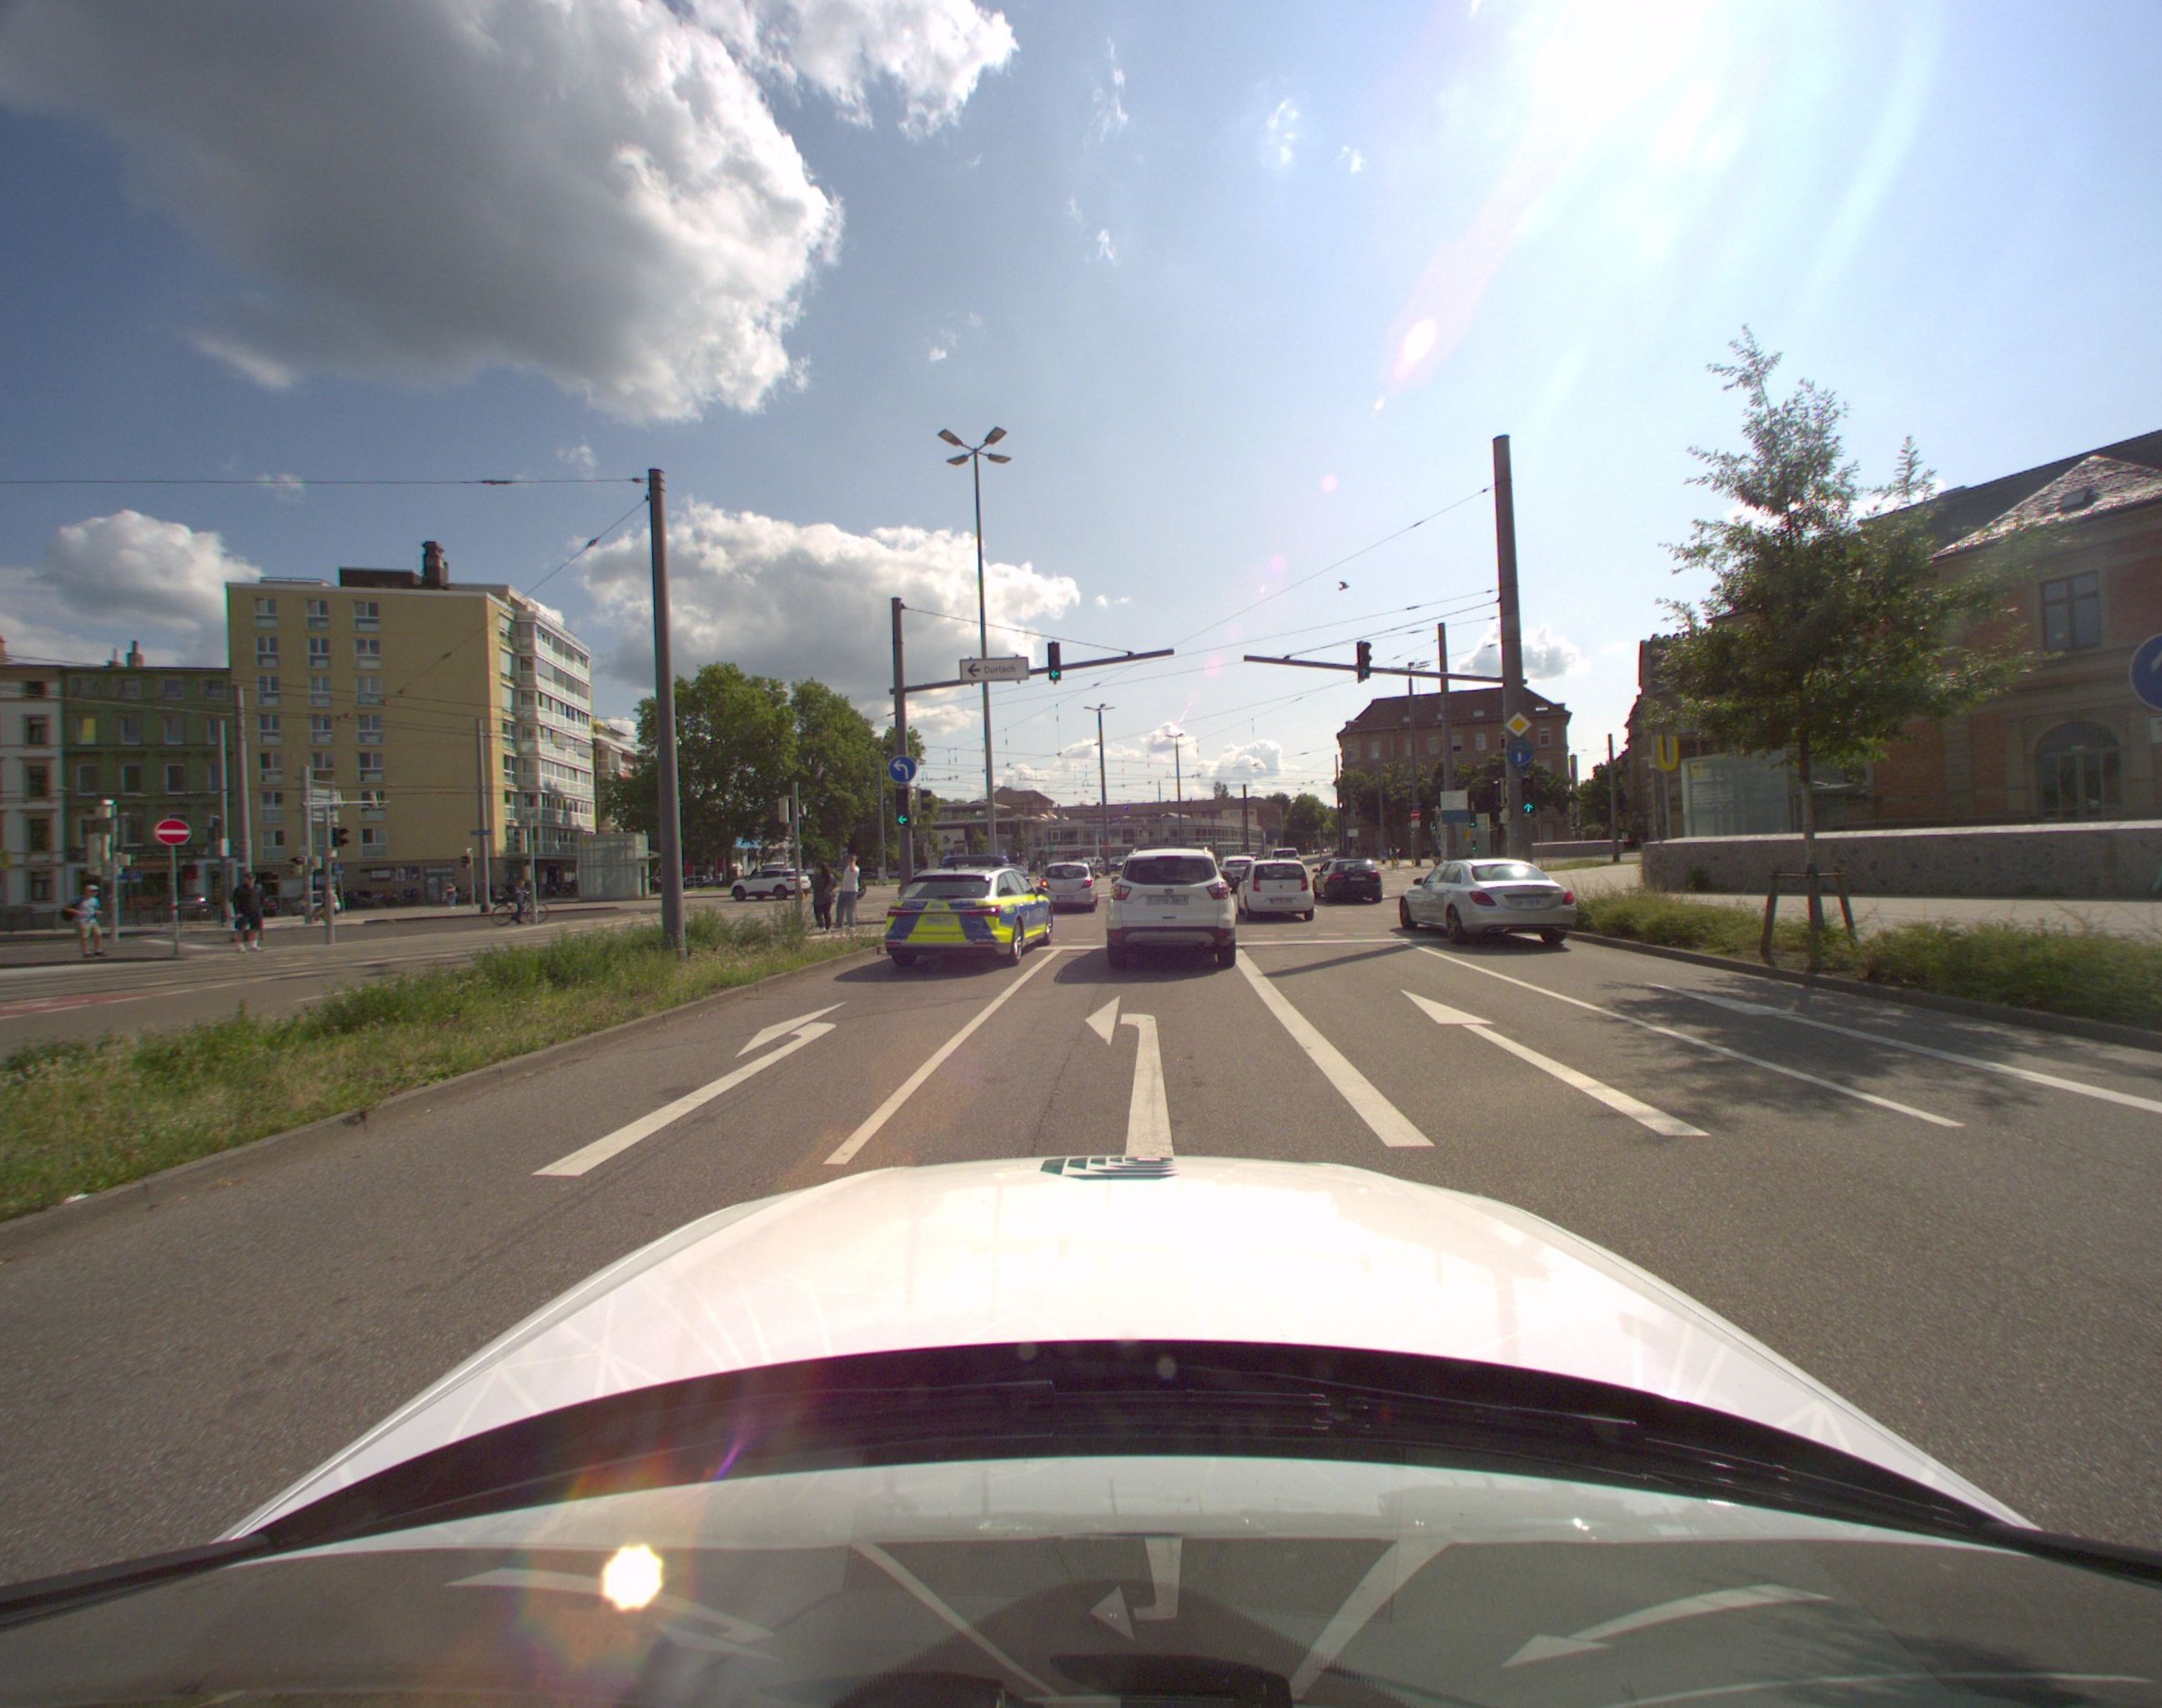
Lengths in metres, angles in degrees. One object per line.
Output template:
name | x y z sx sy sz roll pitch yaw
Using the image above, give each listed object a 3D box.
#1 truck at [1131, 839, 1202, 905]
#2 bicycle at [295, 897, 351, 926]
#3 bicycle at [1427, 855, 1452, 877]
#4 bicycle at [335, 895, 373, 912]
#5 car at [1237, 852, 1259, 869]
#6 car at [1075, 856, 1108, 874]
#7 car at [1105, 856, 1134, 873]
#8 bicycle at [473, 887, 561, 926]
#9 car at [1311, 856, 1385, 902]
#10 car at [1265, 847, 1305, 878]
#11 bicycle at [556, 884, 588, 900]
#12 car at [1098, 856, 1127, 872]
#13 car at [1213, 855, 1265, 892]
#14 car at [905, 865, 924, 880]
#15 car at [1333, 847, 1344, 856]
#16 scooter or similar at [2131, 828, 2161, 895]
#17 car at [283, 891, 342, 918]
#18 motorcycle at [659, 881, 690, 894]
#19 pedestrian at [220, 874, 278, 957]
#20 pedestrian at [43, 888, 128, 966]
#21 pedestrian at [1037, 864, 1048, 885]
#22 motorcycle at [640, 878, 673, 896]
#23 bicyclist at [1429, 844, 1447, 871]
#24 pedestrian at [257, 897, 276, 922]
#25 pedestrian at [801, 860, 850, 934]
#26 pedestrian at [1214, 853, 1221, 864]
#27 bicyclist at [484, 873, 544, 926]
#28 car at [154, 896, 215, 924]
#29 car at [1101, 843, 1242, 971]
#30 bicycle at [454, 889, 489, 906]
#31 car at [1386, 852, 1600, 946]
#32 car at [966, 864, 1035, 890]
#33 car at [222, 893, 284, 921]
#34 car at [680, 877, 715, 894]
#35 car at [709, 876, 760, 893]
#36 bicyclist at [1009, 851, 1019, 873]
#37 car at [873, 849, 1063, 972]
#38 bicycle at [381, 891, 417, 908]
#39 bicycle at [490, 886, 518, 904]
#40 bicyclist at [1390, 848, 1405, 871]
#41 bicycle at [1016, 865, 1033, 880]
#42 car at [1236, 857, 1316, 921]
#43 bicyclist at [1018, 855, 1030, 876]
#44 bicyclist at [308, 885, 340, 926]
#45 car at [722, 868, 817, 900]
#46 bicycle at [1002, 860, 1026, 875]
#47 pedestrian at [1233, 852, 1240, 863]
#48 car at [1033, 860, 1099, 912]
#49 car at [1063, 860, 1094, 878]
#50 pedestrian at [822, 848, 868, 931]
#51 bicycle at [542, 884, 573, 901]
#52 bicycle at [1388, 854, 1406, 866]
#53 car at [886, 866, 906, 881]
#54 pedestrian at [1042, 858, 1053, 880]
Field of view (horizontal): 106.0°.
truck | 3.102 0.631 30.164 2.328 2.155 5.859 -1 -1 5
bicycle | -33.632 2.548 36.183 0.889 1.138 2.343 0 -1 -18
bicycle | 17.478 0.566 39.741 0.840 0.970 1.969 -5 -1 16
bicycle | -51.062 3.472 57.207 1.809 1.104 0.792 -2 -1 -19
car | 14.779 0.590 72.041 1.838 1.419 3.690 -2 -1 12
car | 1.035 1.030 77.731 1.722 1.573 4.022 -4 -1 23
car | 3.679 0.953 77.099 1.675 1.461 3.987 -4 -1 18
bicycle | -19.597 1.819 28.335 2.287 1.188 0.994 -3 -1 -2
car | 8.876 0.798 27.362 1.689 1.372 4.143 -2 -1 9
car | 11.407 0.487 45.785 1.826 1.652 4.010 -2 -1 9
bicycle | -39.862 2.991 63.818 1.948 1.147 0.792 -2 -1 -18
car | 3.336 1.050 84.514 1.612 1.461 3.991 -4 0 23
car | 6.472 0.786 33.583 1.840 1.419 3.686 -2 -1 7
car | -23.170 2.572 113.503 1.989 2.014 4.225 -4 -1 -4
car | 50.060 -0.479 158.501 1.821 1.652 4.020 -2 -1 21
scooter or similar | 18.687 0.119 13.519 0.466 1.118 1.437 -3 0 -19
car | -47.498 3.142 50.321 3.849 1.497 1.912 -4 -2 35
motorcycle | -33.288 2.765 66.722 0.800 0.917 2.058 -3 1 37
pedestrian | -19.845 1.447 19.450 0.770 1.903 0.819 0 -1 -31
pedestrian | -24.237 1.756 19.849 0.761 1.798 1.029 -1 -1 4
pedestrian | -3.152 1.667 66.683 0.921 1.744 0.589 -1 -1 -2
motorcycle | -32.232 2.488 61.880 2.193 1.238 0.910 -3 0 18
bicyclist | 17.406 0.166 39.709 0.630 1.220 0.927 -4 0 15
pedestrian | -51.513 3.519 51.519 0.702 1.534 0.550 -3 -1 -31
pedestrian | -5.965 0.991 19.035 0.845 1.648 0.692 -3 -1 0
pedestrian | 21.788 0.644 130.188 0.866 1.737 0.882 -1 -2 36
bicyclist | -19.703 1.570 28.330 1.294 1.731 0.994 -3 -1 -2
car | -52.960 3.331 48.082 3.849 1.497 1.912 -4 -2 34
car | 1.341 0.729 12.767 1.819 1.664 3.960 -1 -1 4
bicycle | -44.111 3.120 58.942 1.809 1.104 0.792 -2 -1 -19
car | 7.379 0.725 15.221 1.921 1.455 4.765 -1 0 5
car | -4.534 1.293 45.413 1.752 1.376 3.951 -1 -1 -42
car | -49.552 3.188 48.712 3.849 1.497 1.912 -4 -2 34
car | -34.503 2.853 73.326 1.906 1.413 3.984 -3 -2 -11
car | -32.527 2.841 76.463 3.976 1.327 1.632 -3 -2 -2
bicyclist | -5.308 0.646 64.743 0.656 1.738 0.641 -2 0 5
car | -1.573 0.802 13.186 1.870 1.568 4.624 -2 -1 7
bicycle | -48.503 3.242 57.941 1.809 1.104 0.792 -2 -1 -19
bicycle | -43.073 3.042 60.833 0.792 1.258 1.808 -2 -1 -3
bicyclist | 20.418 0.371 52.576 0.606 1.451 0.775 -2 -1 2
bicycle | -4.883 1.577 70.353 0.754 1.192 2.159 -3 -1 15
car | 4.972 0.843 21.186 1.640 1.422 4.010 -3 0 9
bicyclist | -4.920 0.992 70.370 0.754 1.683 0.763 -3 -1 15
bicyclist | -33.659 2.276 36.230 0.779 1.797 0.706 0 -1 -18
car | -16.701 1.606 43.689 4.487 1.578 2.056 -2 -1 19
bicycle | -5.289 1.082 64.754 1.770 1.125 0.640 -2 0 4
pedestrian | 26.161 0.614 136.805 0.866 1.922 0.882 -1 -1 33
car | -0.396 0.946 25.581 1.841 1.474 4.002 -1 0 2
car | -0.191 1.274 69.680 1.725 1.373 3.655 -4 -1 14
pedestrian | -5.720 0.851 19.761 0.845 1.917 0.692 -3 -1 0
bicycle | -40.147 2.959 62.516 1.809 1.147 0.792 -2 -1 -18
bicycle | 20.400 0.390 52.562 0.582 0.775 1.622 -2 -1 2
car | -25.811 2.774 113.761 1.963 1.937 4.225 -4 -1 -4
pedestrian | -2.712 1.199 65.794 0.921 1.744 0.589 -1 -1 -3
